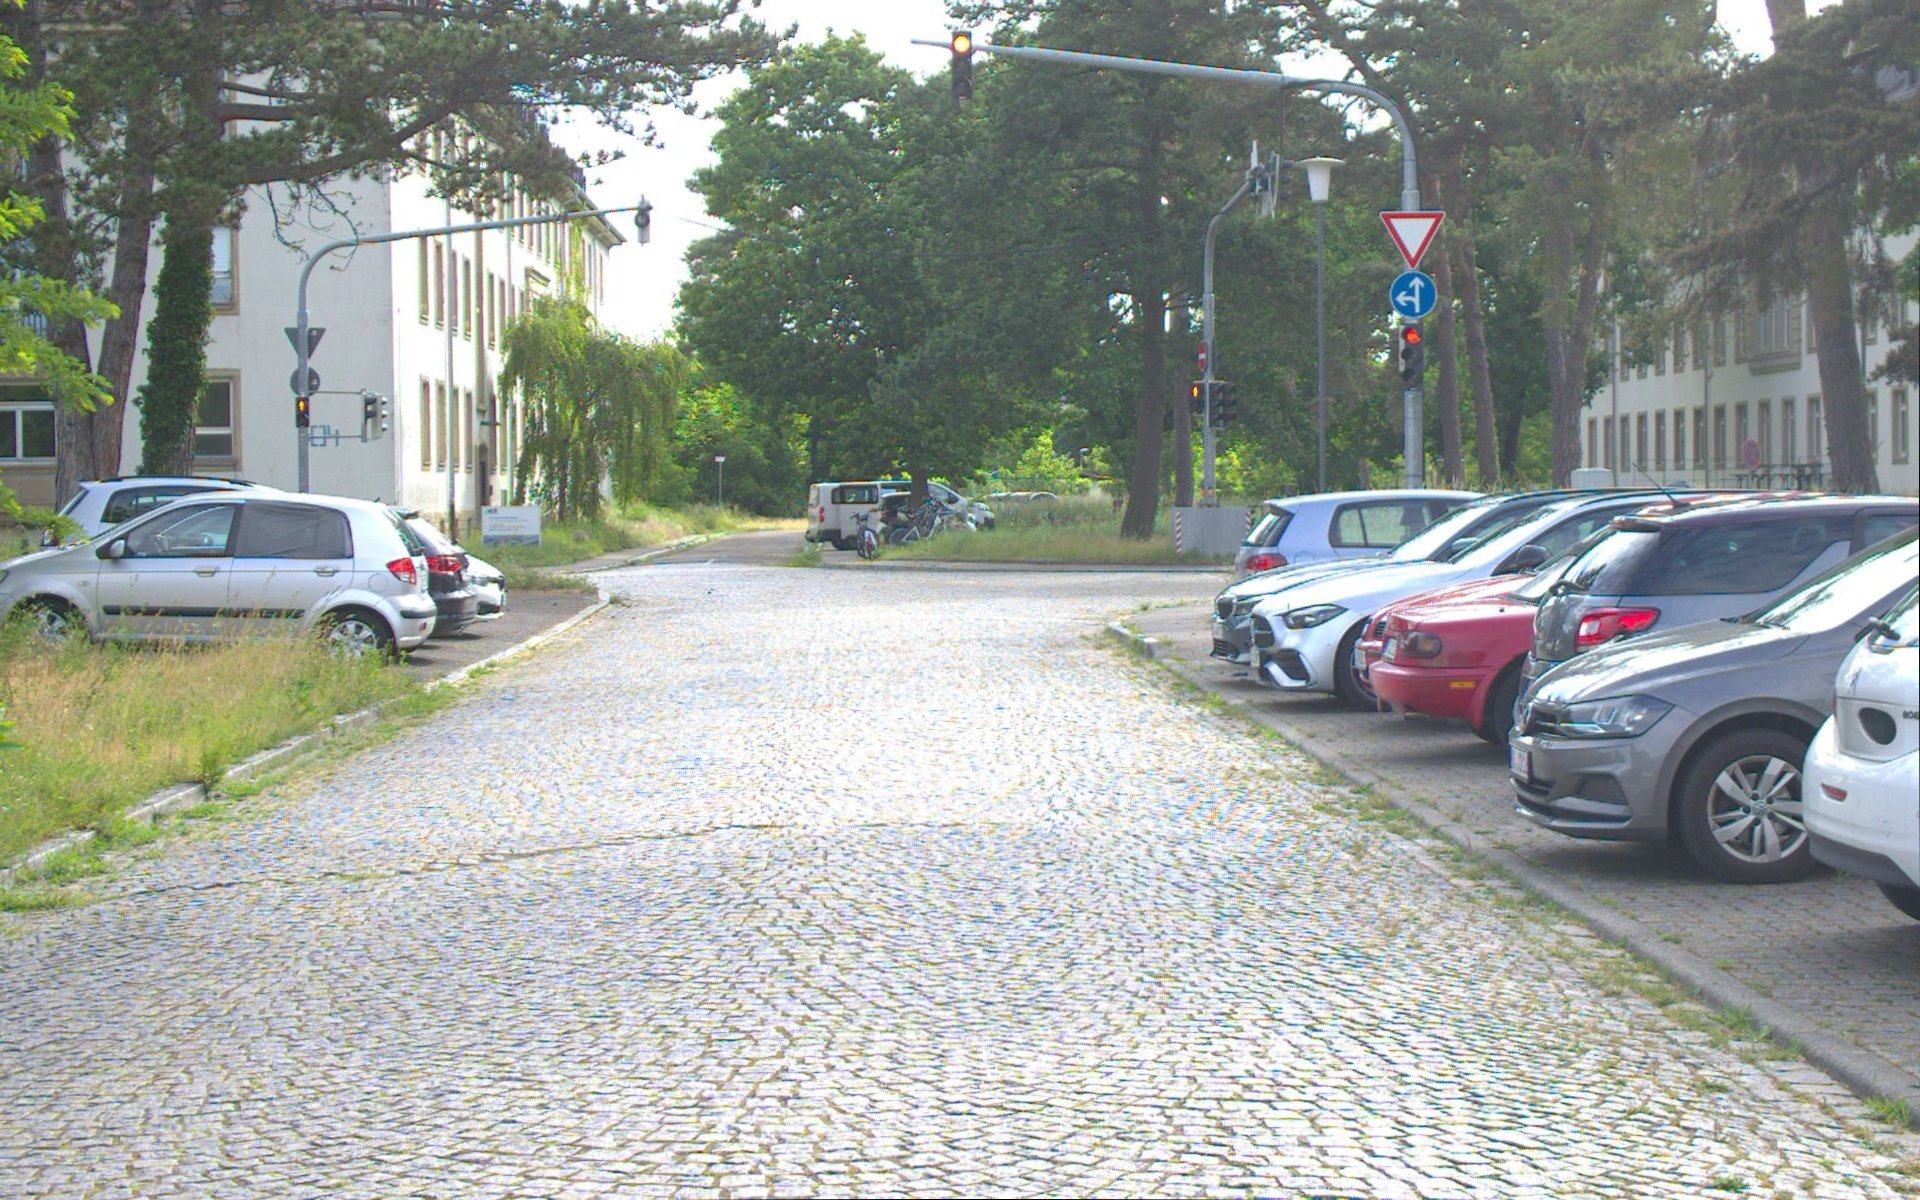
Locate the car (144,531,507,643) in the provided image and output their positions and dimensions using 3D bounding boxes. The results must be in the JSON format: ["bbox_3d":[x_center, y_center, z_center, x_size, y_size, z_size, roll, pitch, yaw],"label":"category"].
[{"bbox_3d":[-6.640,-0.155,36.281,3.670,1.090,1.647,-1,2,-8],"label":"car"}]

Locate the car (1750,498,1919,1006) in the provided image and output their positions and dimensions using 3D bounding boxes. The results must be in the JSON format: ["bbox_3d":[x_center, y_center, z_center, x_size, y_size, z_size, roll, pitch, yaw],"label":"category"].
[{"bbox_3d":[4.434,0.417,11.189,3.292,1.499,1.664,-1,2,-4],"label":"car"}]

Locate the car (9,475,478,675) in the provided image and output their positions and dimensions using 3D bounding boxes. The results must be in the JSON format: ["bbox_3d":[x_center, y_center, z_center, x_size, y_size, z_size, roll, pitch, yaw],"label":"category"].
[{"bbox_3d":[-6.387,-0.261,31.057,3.986,1.700,2.001,-1,2,-8],"label":"car"}]

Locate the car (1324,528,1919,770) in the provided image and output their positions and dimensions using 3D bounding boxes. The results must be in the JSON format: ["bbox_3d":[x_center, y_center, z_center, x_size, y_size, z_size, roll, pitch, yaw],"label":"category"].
[{"bbox_3d":[3.898,0.246,19.756,3.291,1.263,1.665,-1,2,-7],"label":"car"}]

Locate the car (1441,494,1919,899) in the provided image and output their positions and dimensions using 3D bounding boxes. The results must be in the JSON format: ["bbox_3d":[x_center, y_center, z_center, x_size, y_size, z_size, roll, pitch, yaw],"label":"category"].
[{"bbox_3d":[3.978,0.323,14.162,3.597,1.501,1.665,-1,2,-12],"label":"car"}]

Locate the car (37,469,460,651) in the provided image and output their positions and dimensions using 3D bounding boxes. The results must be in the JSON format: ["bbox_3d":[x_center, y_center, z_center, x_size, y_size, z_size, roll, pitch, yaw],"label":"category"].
[{"bbox_3d":[-6.973,-0.426,34.076,3.986,1.744,1.928,0,2,-8],"label":"car"}]

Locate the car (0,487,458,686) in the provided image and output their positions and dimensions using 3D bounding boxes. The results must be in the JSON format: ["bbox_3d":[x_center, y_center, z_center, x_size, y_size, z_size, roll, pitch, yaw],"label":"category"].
[{"bbox_3d":[-6.211,-0.141,28.568,3.986,1.546,2.001,-1,2,-8],"label":"car"}]

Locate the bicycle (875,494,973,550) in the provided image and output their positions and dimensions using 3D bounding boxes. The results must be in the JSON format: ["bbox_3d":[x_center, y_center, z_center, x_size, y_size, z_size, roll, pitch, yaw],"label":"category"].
[{"bbox_3d":[-0.827,-1.798,79.068,2.160,1.264,0.813,0,2,-8],"label":"bicycle"}]

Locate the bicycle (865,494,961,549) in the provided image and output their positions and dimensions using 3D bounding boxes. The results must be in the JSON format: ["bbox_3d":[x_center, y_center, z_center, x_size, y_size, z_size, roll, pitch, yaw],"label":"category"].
[{"bbox_3d":[-1.102,-1.827,80.275,2.160,1.264,0.813,0,2,-8],"label":"bicycle"}]

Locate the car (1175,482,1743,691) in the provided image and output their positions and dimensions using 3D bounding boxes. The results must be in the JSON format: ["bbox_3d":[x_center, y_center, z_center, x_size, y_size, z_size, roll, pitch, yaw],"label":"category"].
[{"bbox_3d":[3.883,-0.138,27.046,4.122,1.538,1.665,-1,2,-7],"label":"car"}]

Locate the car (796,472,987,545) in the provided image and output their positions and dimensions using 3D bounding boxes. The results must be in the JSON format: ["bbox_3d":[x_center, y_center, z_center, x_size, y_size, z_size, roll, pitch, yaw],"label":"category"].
[{"bbox_3d":[-1.924,-2.573,96.271,5.049,2.006,2.001,0,2,-12],"label":"car"}]

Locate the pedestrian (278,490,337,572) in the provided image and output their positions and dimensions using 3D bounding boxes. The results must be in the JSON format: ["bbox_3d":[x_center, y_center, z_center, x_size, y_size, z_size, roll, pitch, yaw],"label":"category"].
[{"bbox_3d":[-11.949,-1.273,62.956,0.898,1.493,0.904,0,2,-1],"label":"pedestrian"}]

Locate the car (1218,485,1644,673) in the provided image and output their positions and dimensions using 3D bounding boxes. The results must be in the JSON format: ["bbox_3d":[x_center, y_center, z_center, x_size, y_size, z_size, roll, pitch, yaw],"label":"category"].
[{"bbox_3d":[4.033,-0.207,29.620,3.388,1.538,1.391,-1,2,-7],"label":"car"}]

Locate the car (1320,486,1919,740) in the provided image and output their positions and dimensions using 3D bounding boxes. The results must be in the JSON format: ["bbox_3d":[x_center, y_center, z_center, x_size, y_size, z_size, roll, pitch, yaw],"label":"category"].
[{"bbox_3d":[4.451,0.046,22.012,3.986,1.538,1.664,0,2,-7],"label":"car"}]

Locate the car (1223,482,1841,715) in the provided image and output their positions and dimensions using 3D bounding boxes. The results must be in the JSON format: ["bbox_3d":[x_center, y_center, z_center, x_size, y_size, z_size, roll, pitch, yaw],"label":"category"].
[{"bbox_3d":[3.982,-0.046,24.236,3.986,1.538,1.665,-1,2,-7],"label":"car"}]

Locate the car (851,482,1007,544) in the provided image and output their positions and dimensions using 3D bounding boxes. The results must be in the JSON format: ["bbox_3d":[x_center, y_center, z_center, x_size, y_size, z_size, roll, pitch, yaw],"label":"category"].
[{"bbox_3d":[-0.857,-2.357,93.022,3.986,1.638,2.001,0,2,-7],"label":"car"}]

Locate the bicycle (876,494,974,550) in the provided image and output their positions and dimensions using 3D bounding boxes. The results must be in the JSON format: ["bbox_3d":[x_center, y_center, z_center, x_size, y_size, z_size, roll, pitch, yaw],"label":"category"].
[{"bbox_3d":[-0.805,-1.786,78.481,2.160,1.264,0.813,0,2,-8],"label":"bicycle"}]

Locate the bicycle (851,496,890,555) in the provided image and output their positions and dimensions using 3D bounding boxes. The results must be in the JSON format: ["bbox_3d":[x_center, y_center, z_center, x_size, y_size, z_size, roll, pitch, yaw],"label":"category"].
[{"bbox_3d":[-1.945,-1.624,74.696,0.810,1.264,1.973,0,2,-1],"label":"bicycle"}]

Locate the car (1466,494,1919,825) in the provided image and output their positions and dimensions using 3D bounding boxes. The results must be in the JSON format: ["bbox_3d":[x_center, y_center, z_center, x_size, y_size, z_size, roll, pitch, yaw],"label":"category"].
[{"bbox_3d":[4.362,0.238,17.049,3.291,1.499,1.665,-1,2,-12],"label":"car"}]

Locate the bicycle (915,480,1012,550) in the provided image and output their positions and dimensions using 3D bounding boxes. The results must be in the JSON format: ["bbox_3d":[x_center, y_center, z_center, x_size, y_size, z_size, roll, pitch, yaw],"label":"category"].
[{"bbox_3d":[0.082,-1.975,79.795,2.160,1.610,0.813,0,2,-8],"label":"bicycle"}]
